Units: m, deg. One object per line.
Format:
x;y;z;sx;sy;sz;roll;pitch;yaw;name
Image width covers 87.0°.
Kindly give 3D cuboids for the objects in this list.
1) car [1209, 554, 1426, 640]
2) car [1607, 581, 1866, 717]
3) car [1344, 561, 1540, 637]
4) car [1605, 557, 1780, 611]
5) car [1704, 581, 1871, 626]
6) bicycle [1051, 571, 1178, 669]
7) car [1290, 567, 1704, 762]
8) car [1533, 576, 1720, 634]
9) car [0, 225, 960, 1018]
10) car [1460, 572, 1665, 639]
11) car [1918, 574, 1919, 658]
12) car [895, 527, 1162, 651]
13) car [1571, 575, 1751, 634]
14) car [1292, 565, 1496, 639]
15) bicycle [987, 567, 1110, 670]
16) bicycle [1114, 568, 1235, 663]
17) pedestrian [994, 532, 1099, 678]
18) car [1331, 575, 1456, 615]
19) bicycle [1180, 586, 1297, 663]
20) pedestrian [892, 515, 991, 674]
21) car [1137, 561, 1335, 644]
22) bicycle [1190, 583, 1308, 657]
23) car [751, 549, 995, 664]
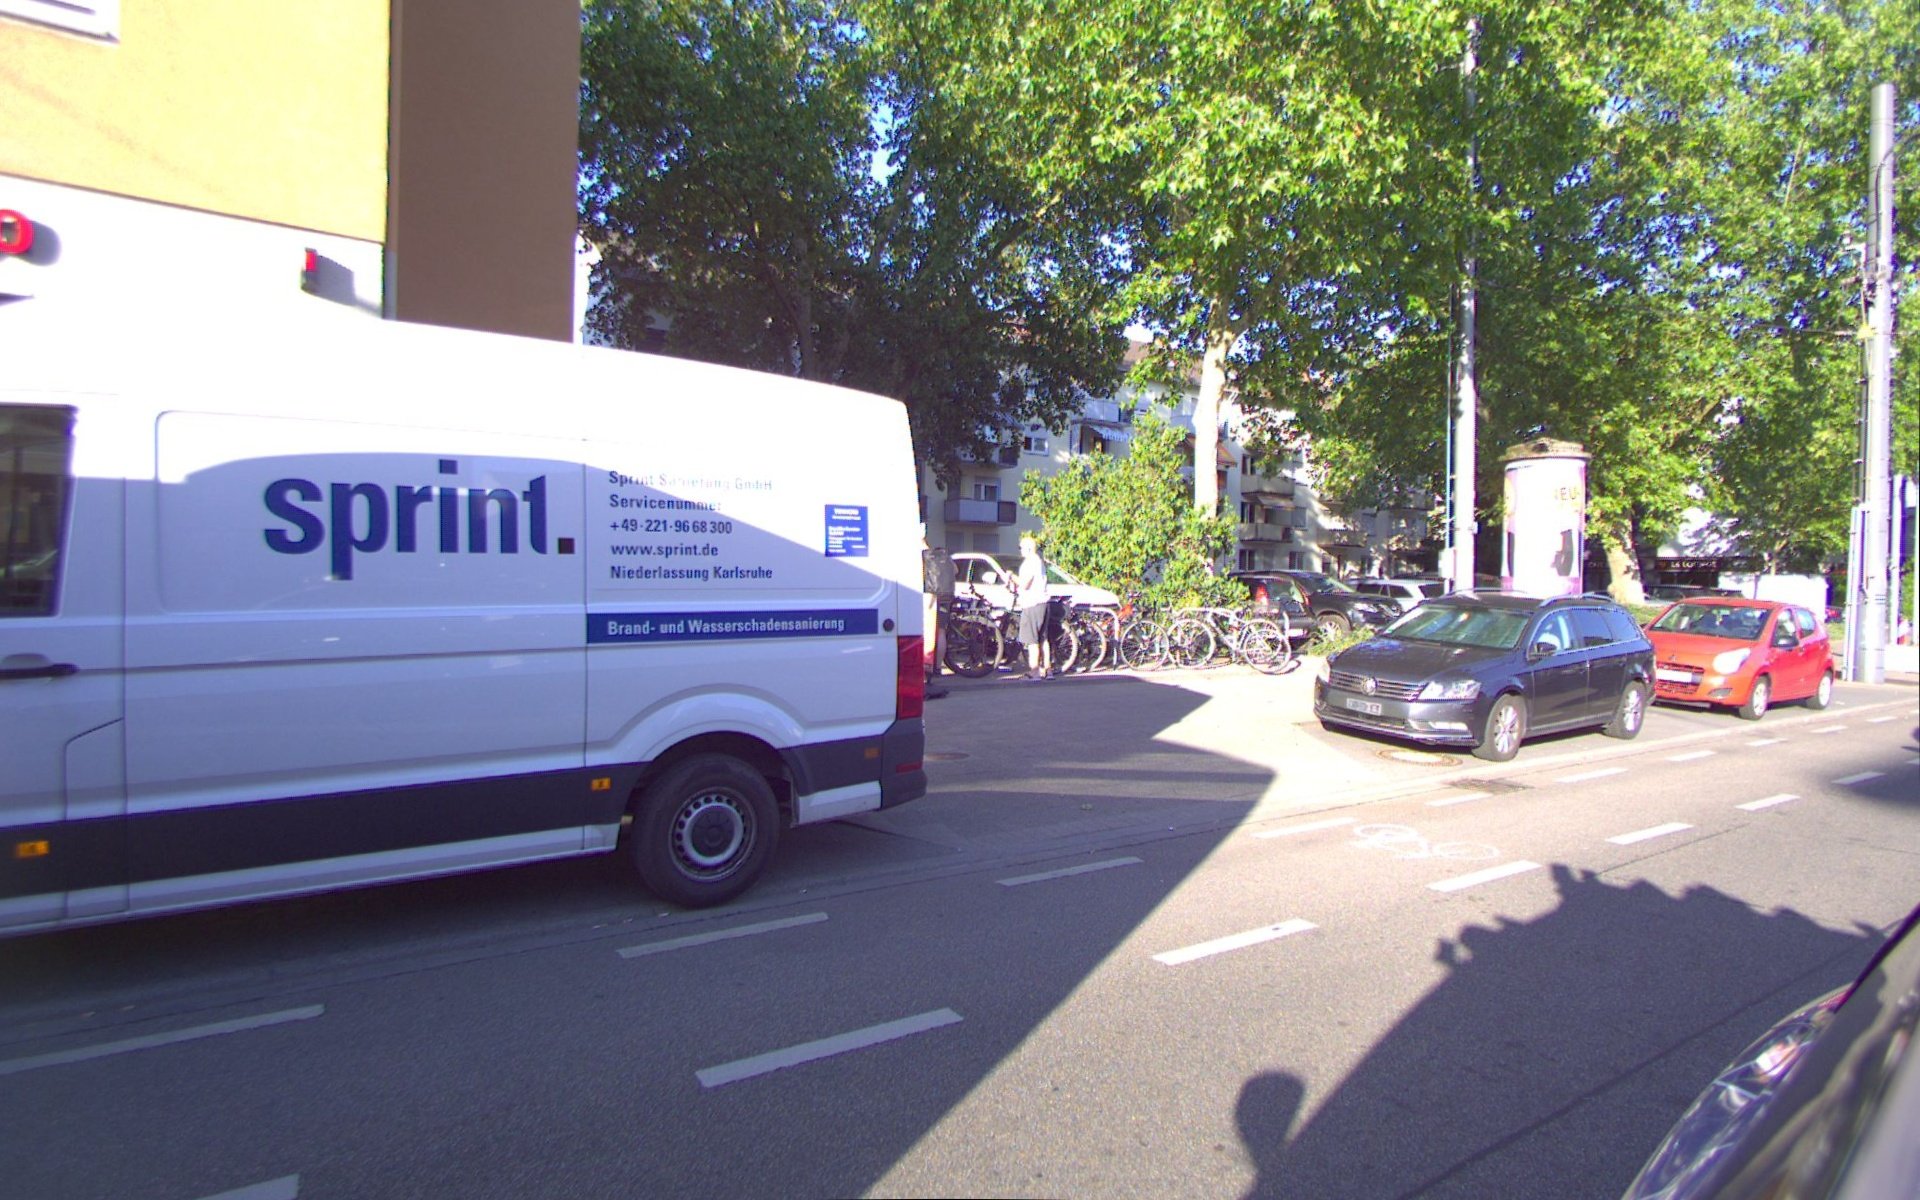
7.438;-0.011;21.412;1.820;1.621;4.034;0;-1;-34;car
10.386;0.561;13.489;3.555;1.512;1.576;0;4;-33;car
11.372;-0.015;24.112;1.820;1.652;3.855;0;0;-32;car
23.003;-0.445;31.934;1.767;1.570;4.127;0;-1;-32;car
29.634;0.126;36.359;1.962;1.514;4.294;-1;0;-35;car
2.046;0.262;13.368;1.562;1.242;0.647;-1;0;20;bicycle
5.619;0.517;10.403;4.562;1.549;1.704;0;4;-33;car
19.155;0.093;29.261;1.767;1.513;4.129;0;2;-32;car
-2.970;0.007;4.581;5.672;2.581;2.026;0;5;-33;car
15.291;0.078;25.901;1.767;1.513;4.129;0;2;-32;car
22.916;0.222;22.098;4.474;2.104;1.892;0;1;-33;car
0.947;-0.109;16.654;1.961;1.731;4.633;0;-1;-34;car
21.256;0.075;30.853;1.767;1.619;4.129;0;2;-32;car
9.642;0.076;22.738;1.820;1.514;3.854;0;-1;-32;car
1.134;0.217;12.949;1.500;1.242;0.401;2;1;18;bicycle
2.929;0.193;13.910;1.557;1.242;0.645;1;1;11;bicycle
1.039;0.046;12.142;0.973;1.656;0.661;1;4;-41;pedestrian
17.610;-0.248;41.250;1.963;1.514;4.295;0;2;-36;car
4.007;0.327;14.551;1.563;1.026;0.647;2;1;20;bicycle
-0.230;-0.077;11.880;0.753;1.772;0.810;2;4;-33;pedestrian
5.406;0.082;20.175;1.739;1.502;3.509;0;-1;-34;car
4.333;0.280;15.185;1.658;1.026;0.647;2;1;20;bicycle
-1.447;-0.009;15.275;1.962;1.449;4.029;-3;4;-33;car
